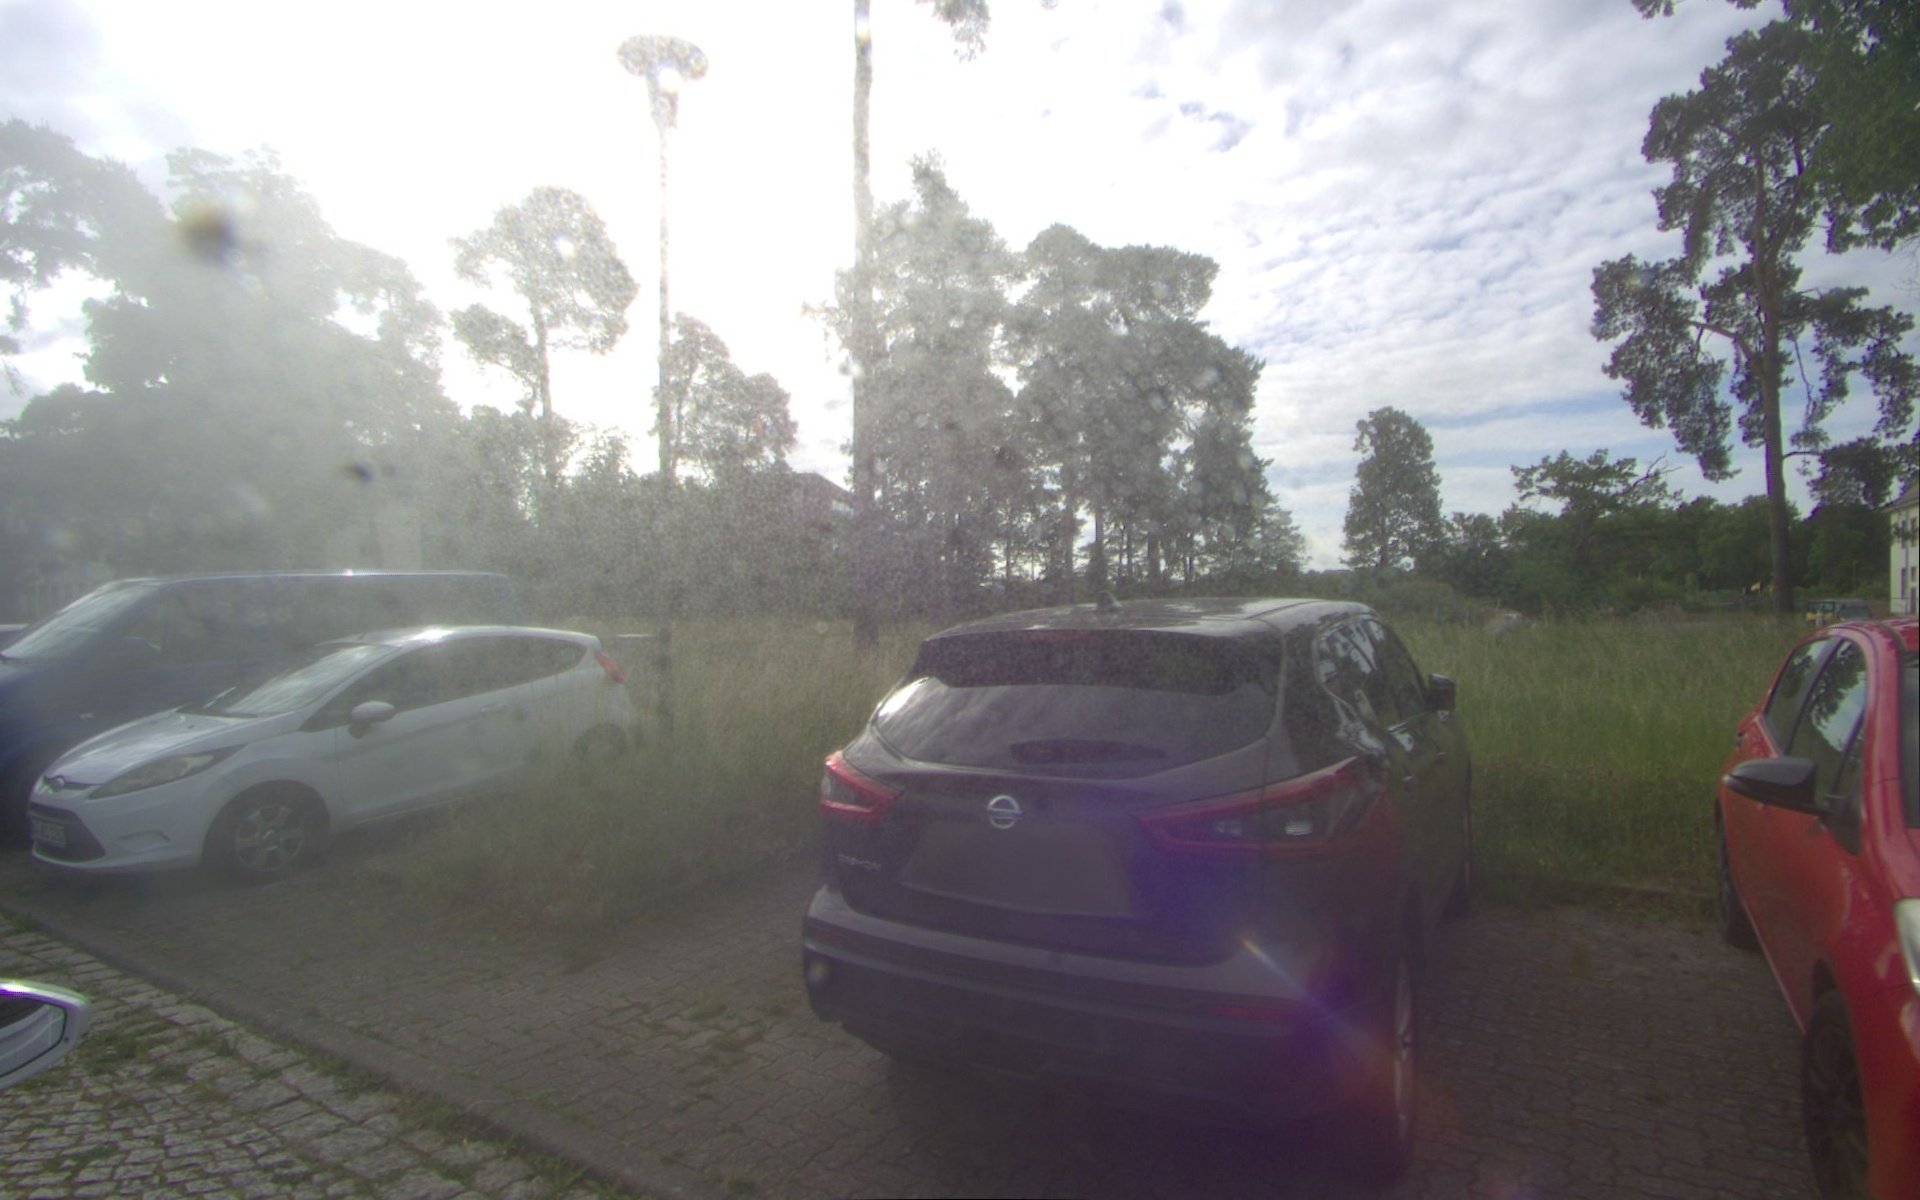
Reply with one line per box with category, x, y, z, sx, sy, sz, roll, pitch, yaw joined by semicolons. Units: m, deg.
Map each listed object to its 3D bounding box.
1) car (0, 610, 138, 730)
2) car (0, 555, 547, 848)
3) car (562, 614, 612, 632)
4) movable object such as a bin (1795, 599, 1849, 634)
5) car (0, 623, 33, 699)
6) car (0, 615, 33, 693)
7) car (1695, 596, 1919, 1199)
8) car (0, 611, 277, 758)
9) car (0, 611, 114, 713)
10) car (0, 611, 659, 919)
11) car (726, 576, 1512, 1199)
car;-13.352;0.941;12.930;1.732;1.492;3.855;0;1;31
car;-6.371;0.655;8.824;1.974;1.972;4.798;0;1;31
car;-33.107;2.089;88.955;1.628;1.439;3.940;-1;-3;35
movable object such as a bin;50.296;0.955;58.434;3.202;2.040;1.670;0;0;-35
car;-17.727;1.081;16.048;1.732;1.253;3.855;0;1;31
car;-19.579;1.058;17.761;1.844;1.436;4.252;0;1;32
car;3.473;0.762;3.023;1.741;1.506;3.997;0;1;32
car;-10.677;0.942;11.886;1.732;1.492;3.855;0;1;31
car;-15.396;0.967;14.948;1.732;1.492;3.855;0;1;31
car;-4.330;0.886;7.329;1.814;1.492;3.855;0;1;31
car;1.205;0.744;4.174;1.795;1.620;4.252;0;1;31
